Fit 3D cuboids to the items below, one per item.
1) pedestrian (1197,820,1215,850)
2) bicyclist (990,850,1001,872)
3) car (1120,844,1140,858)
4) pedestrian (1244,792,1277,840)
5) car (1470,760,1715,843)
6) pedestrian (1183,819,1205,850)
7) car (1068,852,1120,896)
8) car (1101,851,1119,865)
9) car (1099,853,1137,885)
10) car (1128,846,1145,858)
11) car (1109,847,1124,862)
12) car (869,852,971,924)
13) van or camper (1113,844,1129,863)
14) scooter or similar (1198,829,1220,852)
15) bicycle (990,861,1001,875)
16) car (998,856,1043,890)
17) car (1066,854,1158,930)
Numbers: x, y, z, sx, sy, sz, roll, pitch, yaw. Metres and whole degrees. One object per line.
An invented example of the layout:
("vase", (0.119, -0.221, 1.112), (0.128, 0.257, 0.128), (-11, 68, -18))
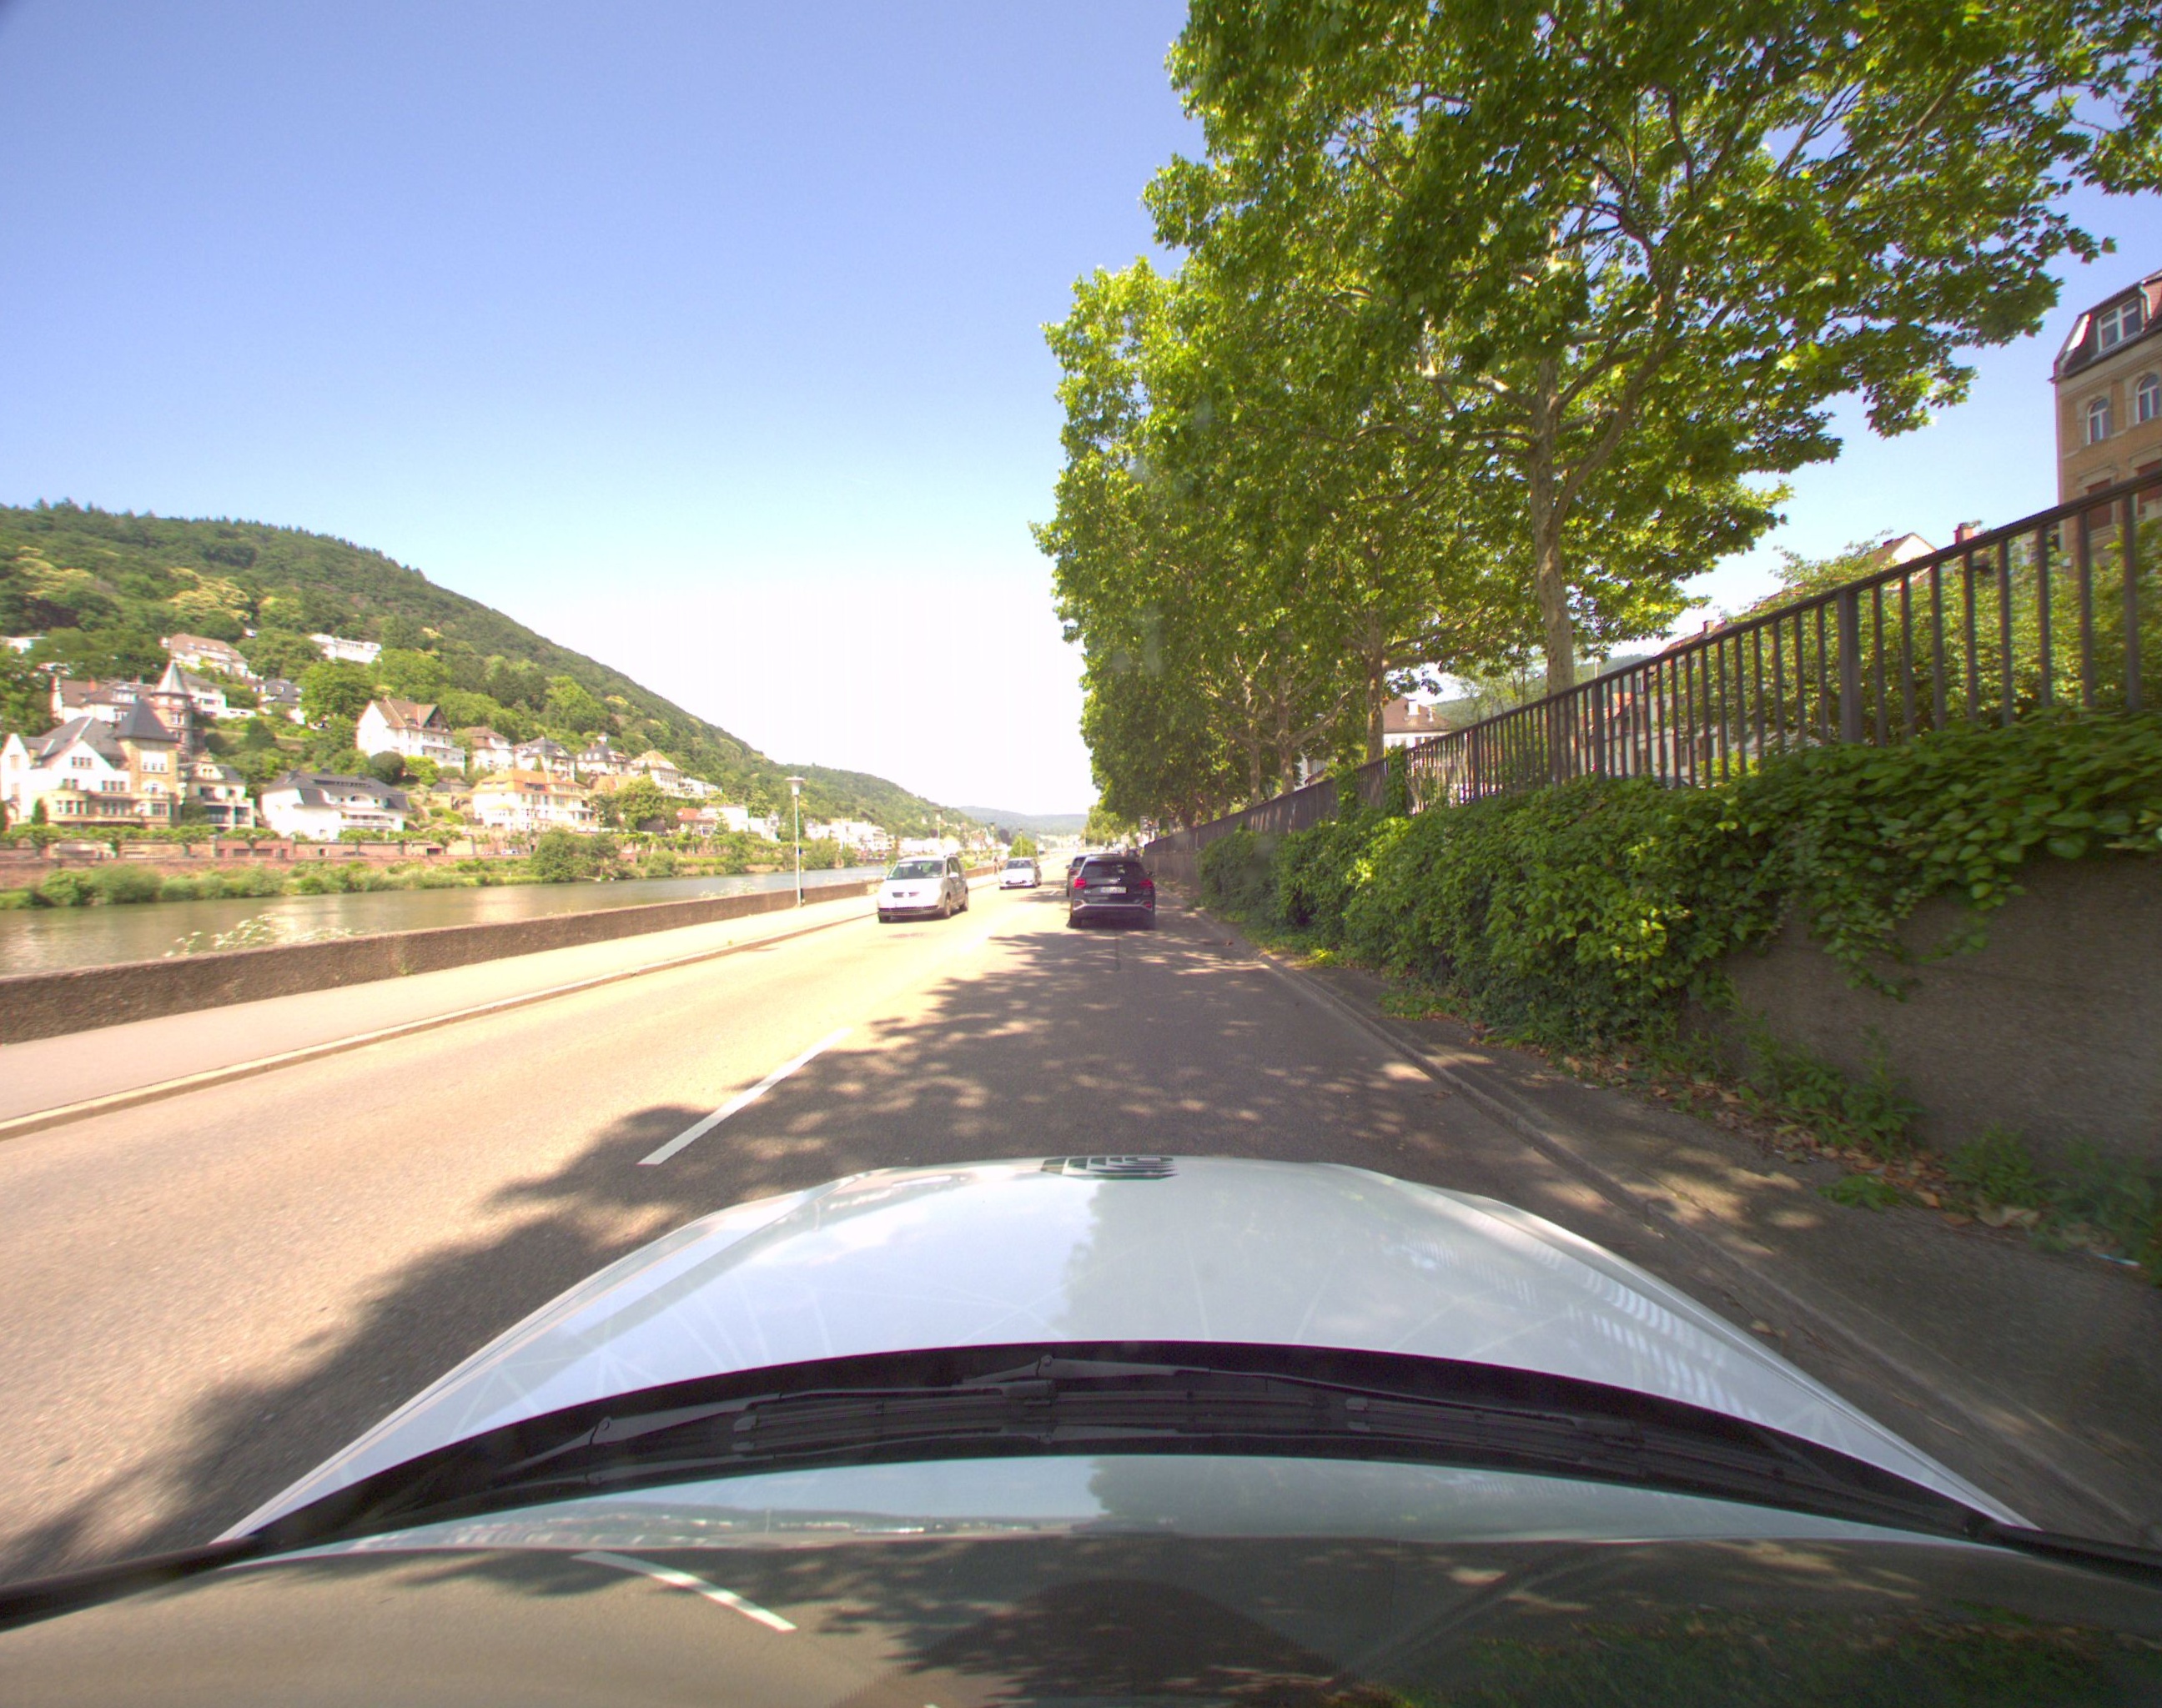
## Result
("pedestrian", (6.132, -0.924, 39.993), (0.678, 1.365, 0.990), (-4, 0, 1))
("bicyclist", (-6.677, 0.536, 63.617), (0.635, 1.673, 0.871), (-2, 0, 1))
("car", (8.394, -0.485, 139.056), (3.087, 2.013, 5.826), (-4, 0, 1))
("pedestrian", (5.452, -1.144, 24.777), (0.751, 1.365, 0.814), (-4, 0, -1))
("car", (9.718, -0.974, 15.618), (3.721, 1.235, 1.670), (-4, 0, -7))
("pedestrian", (6.028, -1.022, 43.589), (0.933, 1.579, 1.027), (-4, 0, -1))
("car", (0.492, 0.699, 30.467), (1.822, 1.511, 4.001), (0, 0, 1))
("car", (3.086, 0.452, 87.720), (1.822, 1.444, 4.001), (0, 0, 1))
("car", (1.795, 0.696, 40.758), (1.822, 1.486, 4.001), (0, 0, 1))
("car", (10.206, -0.427, 149.553), (2.652, 2.013, 5.826), (-4, 0, 1))
("car", (5.091, 0.070, 117.813), (1.986, 2.169, 4.001), (-1, 0, 1))
("car", (-4.136, 0.820, 21.595), (1.725, 1.650, 4.178), (-3, 0, 1))
("van or camper", (6.289, -0.147, 127.516), (2.300, 2.847, 4.249), (-2, 0, 3))
("scooter or similar", (6.117, -0.639, 39.039), (0.852, 1.026, 1.108), (-4, 0, 1))
("bicycle", (-6.664, 1.078, 63.533), (0.630, 1.012, 1.986), (-2, 0, 1))
("car", (-2.894, 0.881, 39.685), (1.725, 1.442, 4.046), (-3, 0, 1))
("car", (0.666, 0.749, 18.189), (1.822, 1.486, 4.001), (0, 0, 1))
